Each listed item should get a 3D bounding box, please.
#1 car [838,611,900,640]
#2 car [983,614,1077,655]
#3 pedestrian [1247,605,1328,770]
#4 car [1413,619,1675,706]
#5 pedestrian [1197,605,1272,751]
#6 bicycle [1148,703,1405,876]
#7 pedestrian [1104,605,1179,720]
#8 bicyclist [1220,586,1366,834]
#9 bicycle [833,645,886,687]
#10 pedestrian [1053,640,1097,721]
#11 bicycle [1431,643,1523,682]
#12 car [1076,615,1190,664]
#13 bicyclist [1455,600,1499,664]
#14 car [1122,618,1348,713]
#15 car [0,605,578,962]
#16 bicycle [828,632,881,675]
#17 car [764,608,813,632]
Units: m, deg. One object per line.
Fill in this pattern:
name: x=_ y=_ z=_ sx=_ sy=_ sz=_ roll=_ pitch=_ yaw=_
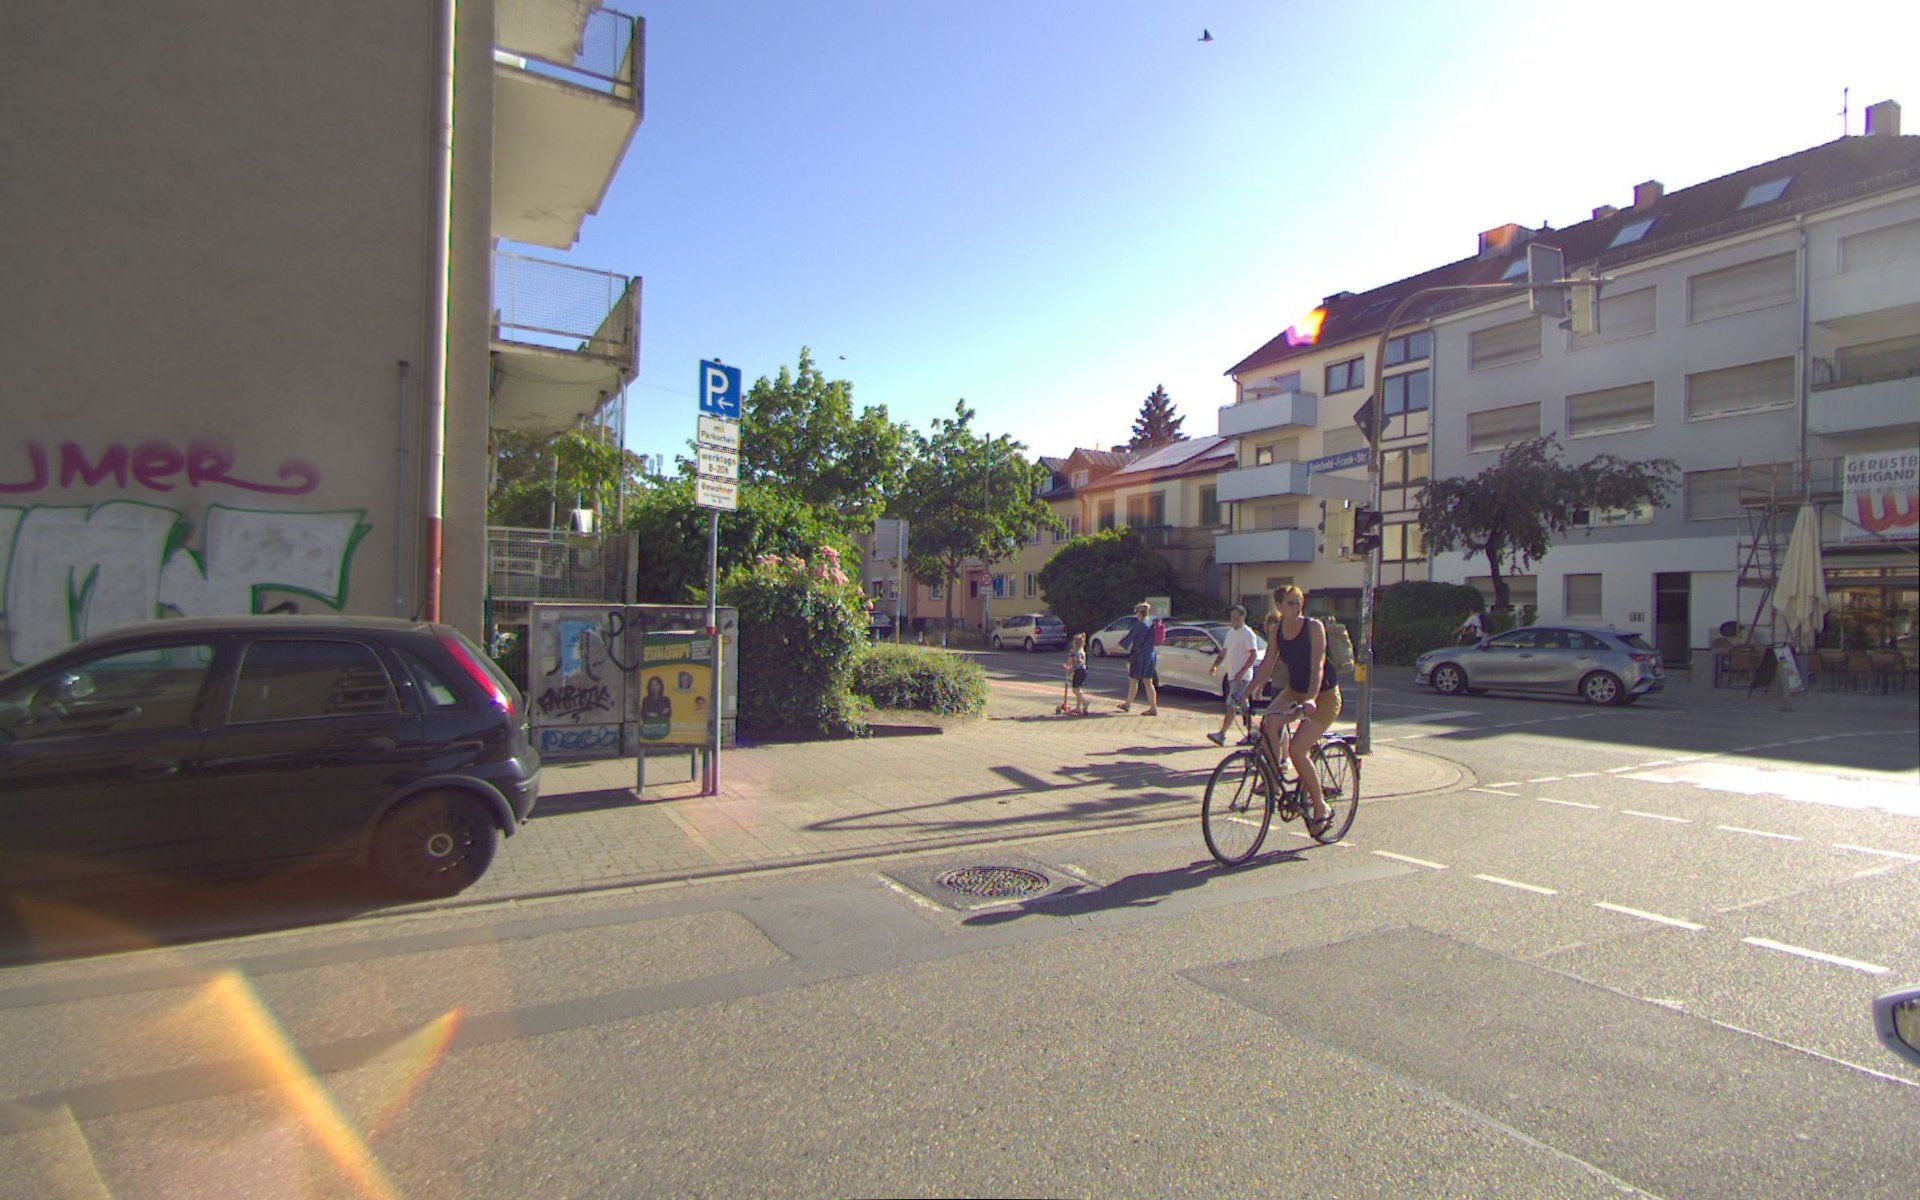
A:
car: x=-4.993 y=1.387 z=54.926 sx=1.893 sy=1.449 sz=3.968 roll=-2 pitch=1 yaw=-30
car: x=2.771 y=1.344 z=40.400 sx=1.893 sy=1.449 sz=3.968 roll=-2 pitch=1 yaw=-30
pedestrian: x=3.297 y=0.851 z=10.111 sx=0.556 sy=1.602 sz=0.529 roll=1 pitch=0 yaw=-29
car: x=11.251 y=1.131 z=19.508 sx=4.117 sy=1.453 sz=1.833 roll=0 pitch=-1 yaw=43
pedestrian: x=3.318 y=0.926 z=12.163 sx=0.658 sy=1.711 sz=0.573 roll=1 pitch=0 yaw=-17
bicycle: x=2.111 y=1.186 z=6.608 sx=1.804 sy=0.914 sz=0.540 roll=1 pitch=0 yaw=-30
pedestrian: x=2.776 y=0.929 z=15.385 sx=0.954 sy=1.705 sz=0.572 roll=0 pitch=0 yaw=42
bicyclist: x=2.204 y=0.689 z=6.661 sx=0.765 sy=1.541 sz=0.540 roll=1 pitch=0 yaw=-30
bicycle: x=-3.042 y=2.007 z=30.324 sx=1.550 sy=1.177 sz=0.447 roll=1 pitch=14 yaw=-7
pedestrian: x=1.699 y=1.177 z=14.847 sx=0.524 sy=1.161 sz=0.384 roll=0 pitch=0 yaw=44
bicycle: x=13.098 y=1.576 z=25.519 sx=0.548 sy=0.845 sz=2.114 roll=1 pitch=0 yaw=-30
car: x=5.973 y=1.332 z=35.097 sx=1.893 sy=1.539 sz=3.968 roll=0 pitch=0 yaw=-30
bicyclist: x=13.123 y=0.806 z=25.494 sx=0.549 sy=1.569 sz=0.808 roll=1 pitch=0 yaw=-30
car: x=5.222 y=1.166 z=19.656 sx=1.909 sy=1.455 sz=4.238 roll=-3 pitch=2 yaw=-27
car: x=-4.170 y=0.805 z=5.270 sx=3.813 sy=1.468 sz=1.682 roll=1 pitch=2 yaw=-31
bicycle: x=-3.103 y=1.565 z=29.539 sx=1.550 sy=1.177 sz=0.447 roll=1 pitch=14 yaw=-7
car: x=-11.213 y=1.263 z=65.630 sx=1.893 sy=1.449 sz=3.968 roll=-2 pitch=1 yaw=-30
